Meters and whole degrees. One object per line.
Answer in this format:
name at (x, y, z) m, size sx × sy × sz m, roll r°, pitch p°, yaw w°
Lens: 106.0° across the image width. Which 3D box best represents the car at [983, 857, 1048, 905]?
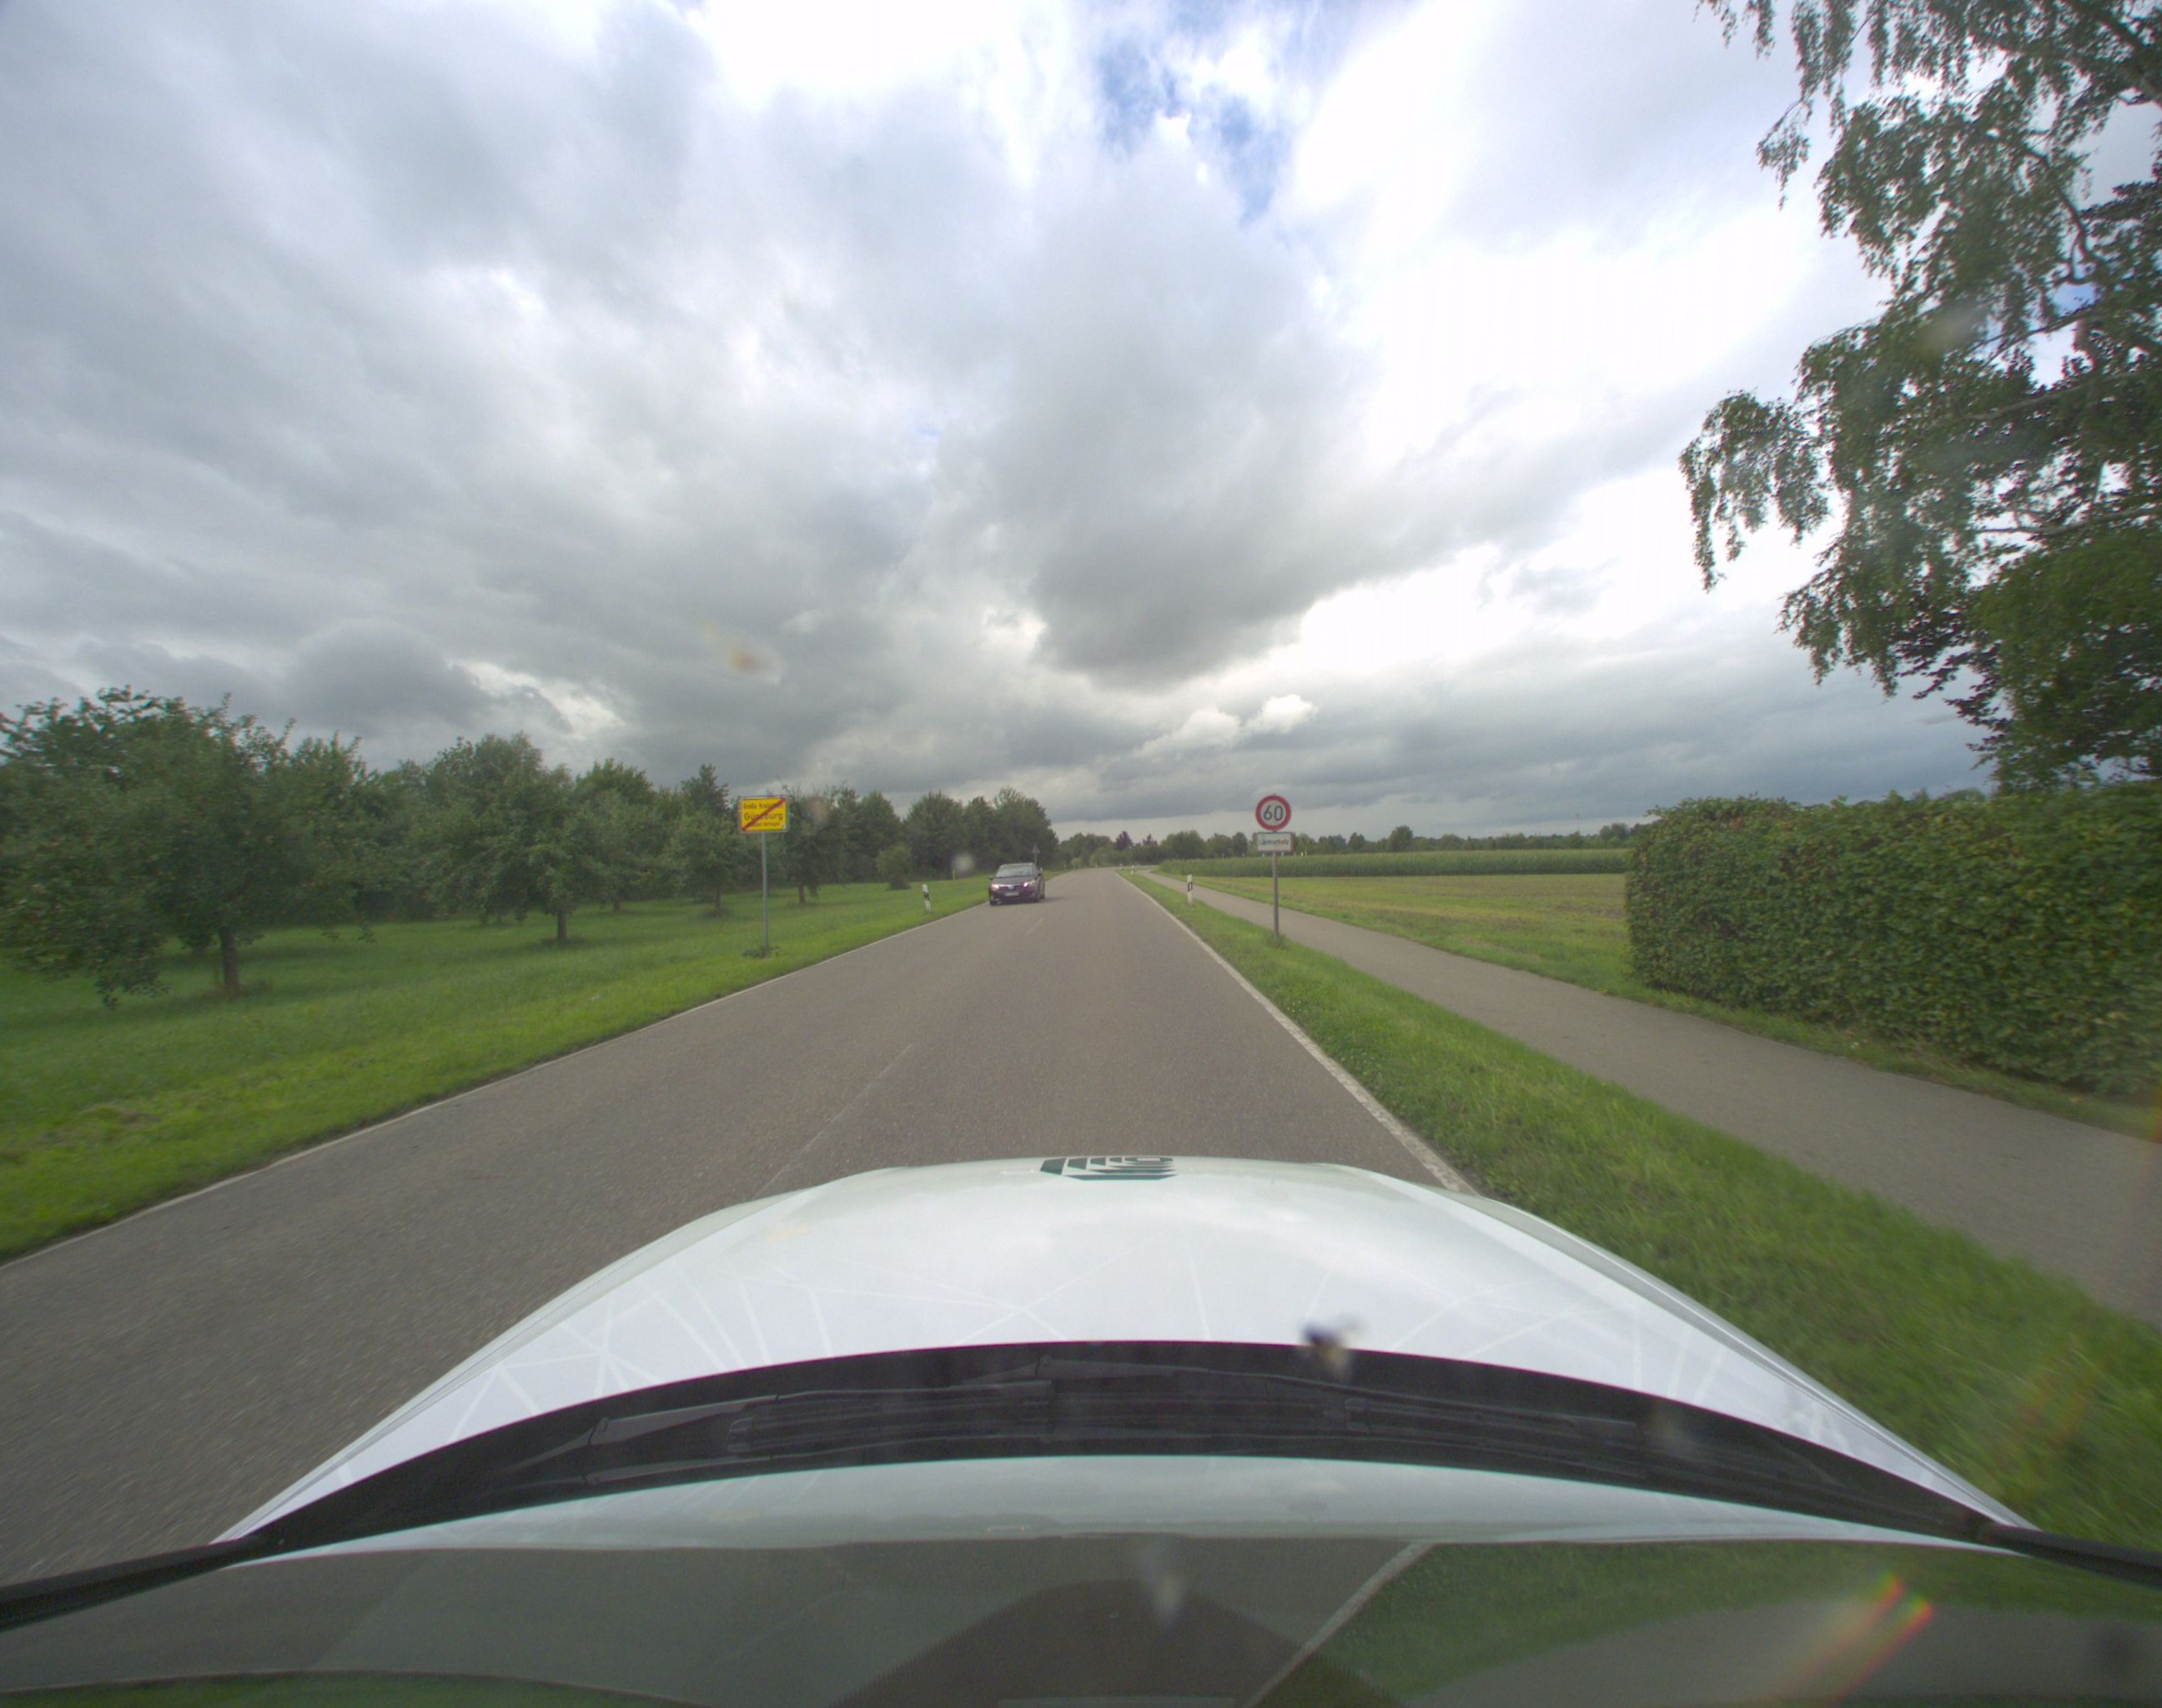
car at (-2.365, 0.941, 30.334) m, size 1.857 × 1.552 × 4.183 m, roll -4°, pitch 0°, yaw 2°
